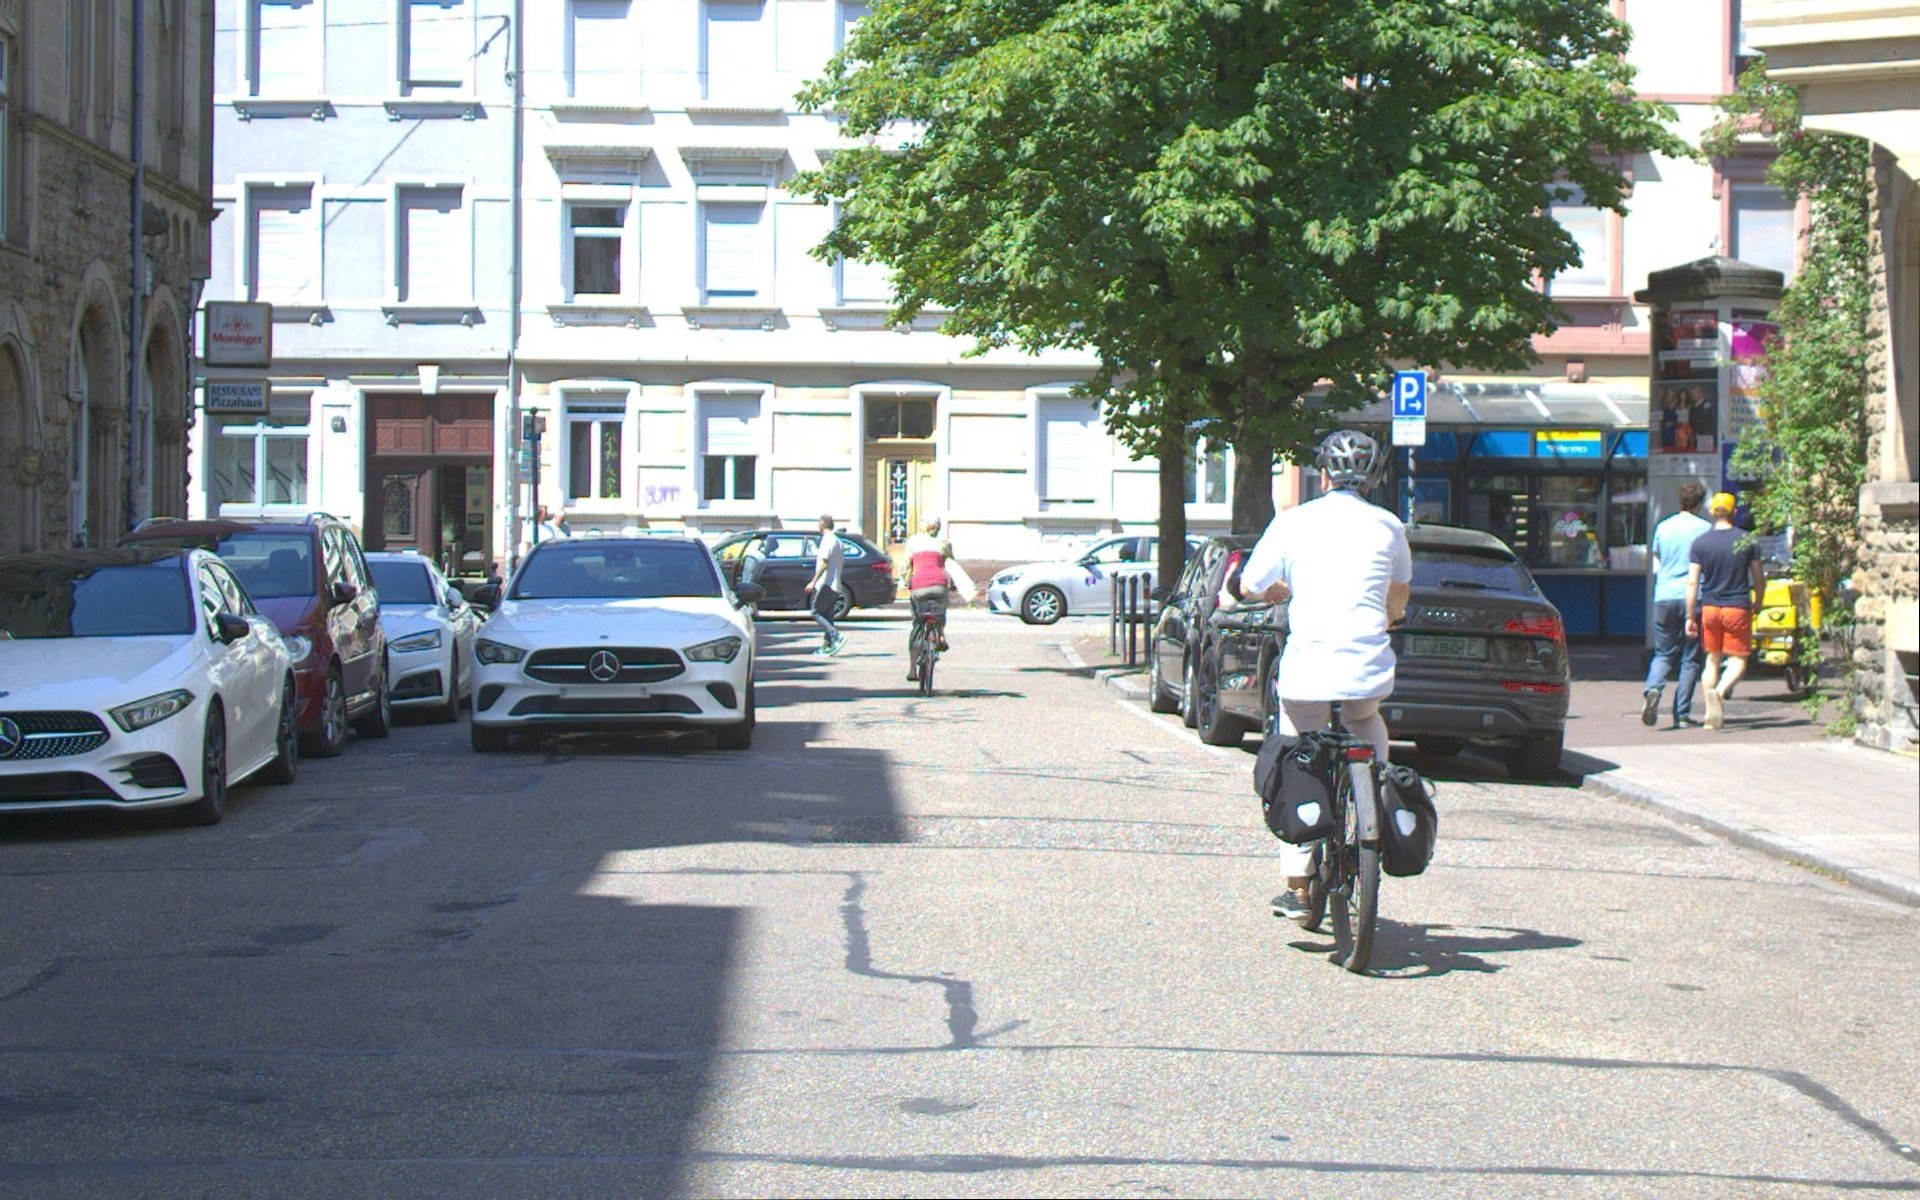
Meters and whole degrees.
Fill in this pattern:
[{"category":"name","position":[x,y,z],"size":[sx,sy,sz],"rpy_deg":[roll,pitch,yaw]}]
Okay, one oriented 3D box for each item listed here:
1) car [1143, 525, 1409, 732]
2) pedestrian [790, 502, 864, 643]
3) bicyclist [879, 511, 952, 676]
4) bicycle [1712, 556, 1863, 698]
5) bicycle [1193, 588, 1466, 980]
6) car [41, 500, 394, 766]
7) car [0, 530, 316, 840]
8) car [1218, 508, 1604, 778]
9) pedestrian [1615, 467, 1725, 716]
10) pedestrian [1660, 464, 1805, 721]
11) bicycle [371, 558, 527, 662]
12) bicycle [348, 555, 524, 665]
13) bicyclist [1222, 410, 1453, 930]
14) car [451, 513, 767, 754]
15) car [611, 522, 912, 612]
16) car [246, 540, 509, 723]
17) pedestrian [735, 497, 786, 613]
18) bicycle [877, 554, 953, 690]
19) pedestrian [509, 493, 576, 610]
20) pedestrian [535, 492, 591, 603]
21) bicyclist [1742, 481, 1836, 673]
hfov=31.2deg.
[{"category":"car","position":[2.555,0.180,28.684],"size":[1.663,1.535,4.178],"rpy_deg":[2,1,-2]},{"category":"pedestrian","position":[-1.588,-0.336,41.144],"size":[0.857,1.666,0.774],"rpy_deg":[0,1,-1]},{"category":"bicyclist","position":[-0.417,-0.067,32.350],"size":[0.670,1.528,0.609],"rpy_deg":[0,1,-1]},{"category":"bicycle","position":[7.220,0.209,29.897],"size":[0.795,1.165,2.575],"rpy_deg":[0,1,25]},{"category":"bicycle","position":[1.288,0.597,12.432],"size":[0.652,1.224,2.441],"rpy_deg":[2,1,-1]},{"category":"car","position":[-4.899,0.165,23.181],"size":[1.672,1.577,4.053],"rpy_deg":[-2,1,-3]},{"category":"car","position":[-4.715,0.382,18.533],"size":[1.776,1.455,4.279],"rpy_deg":[-2,1,-2]},{"category":"car","position":[2.934,0.216,23.263],"size":[1.735,1.591,4.349],"rpy_deg":[2,1,-3]},{"category":"pedestrian","position":[5.386,-0.065,26.087],"size":[0.651,1.862,0.520],"rpy_deg":[0,1,-11]},{"category":"pedestrian","position":[5.703,-0.057,25.403],"size":[0.880,1.873,0.601],"rpy_deg":[0,1,-7]},{"category":"bicycle","position":[-5.248,0.101,35.349],"size":[1.524,1.004,0.367],"rpy_deg":[2,1,-5]},{"category":"bicycle","position":[-5.309,0.098,34.863],"size":[1.704,1.041,0.414],"rpy_deg":[2,1,-5]},{"category":"bicyclist","position":[1.312,0.235,12.041],"size":[0.670,1.754,0.609],"rpy_deg":[2,1,-1]},{"category":"car","position":[-2.328,0.170,23.829],"size":[1.841,1.456,4.363],"rpy_deg":[-2,1,-2]},{"category":"car","position":[-3.236,-0.555,56.577],"size":[4.859,1.432,2.000],"rpy_deg":[0,1,-2]},{"category":"car","position":[-4.782,0.202,28.753],"size":[1.701,1.348,4.516],"rpy_deg":[-2,1,-4]},{"category":"pedestrian","position":[-3.207,-0.727,55.271],"size":[0.724,1.847,0.685],"rpy_deg":[0,1,-11]},{"category":"bicycle","position":[-0.423,0.182,32.437],"size":[0.652,1.205,2.441],"rpy_deg":[2,1,-1]},{"category":"pedestrian","position":[-6.773,-0.793,55.815],"size":[0.850,1.882,0.935],"rpy_deg":[0,1,9]},{"category":"pedestrian","position":[-6.557,-0.867,56.799],"size":[0.901,1.808,0.960],"rpy_deg":[0,1,-7]},{"category":"bicyclist","position":[7.199,-0.208,29.838],"size":[0.678,1.642,0.661],"rpy_deg":[0,1,24]}]
